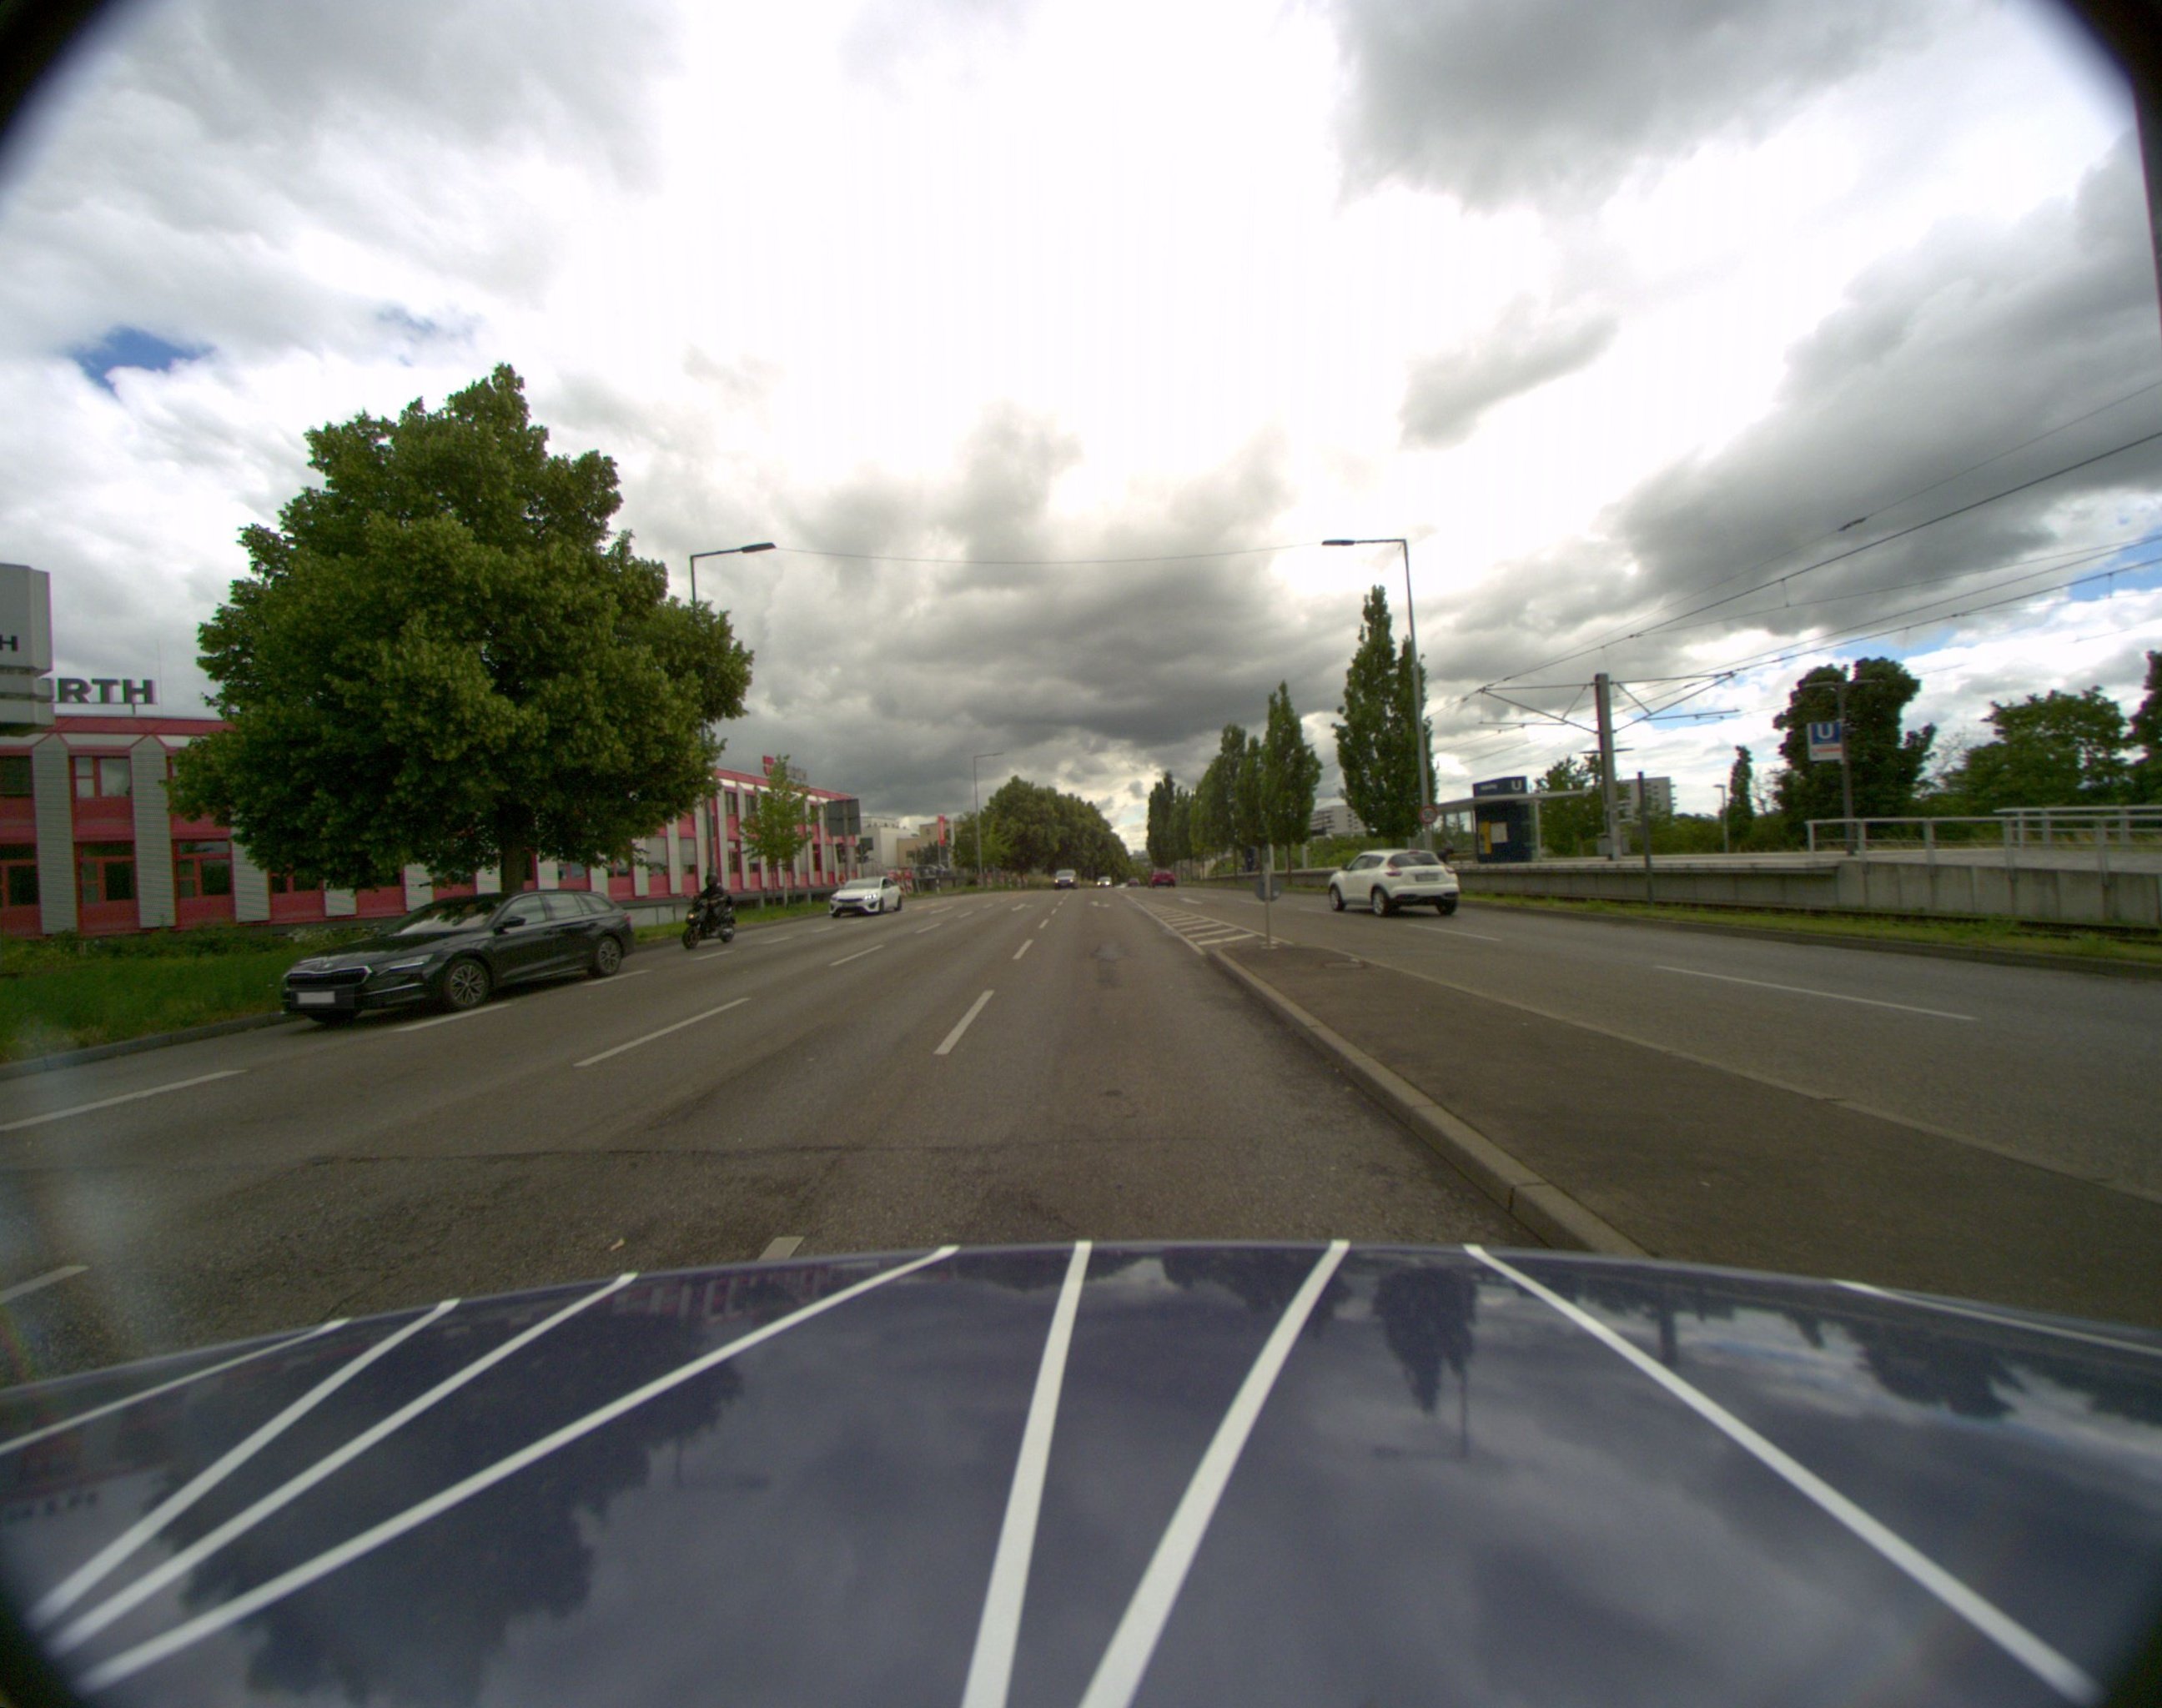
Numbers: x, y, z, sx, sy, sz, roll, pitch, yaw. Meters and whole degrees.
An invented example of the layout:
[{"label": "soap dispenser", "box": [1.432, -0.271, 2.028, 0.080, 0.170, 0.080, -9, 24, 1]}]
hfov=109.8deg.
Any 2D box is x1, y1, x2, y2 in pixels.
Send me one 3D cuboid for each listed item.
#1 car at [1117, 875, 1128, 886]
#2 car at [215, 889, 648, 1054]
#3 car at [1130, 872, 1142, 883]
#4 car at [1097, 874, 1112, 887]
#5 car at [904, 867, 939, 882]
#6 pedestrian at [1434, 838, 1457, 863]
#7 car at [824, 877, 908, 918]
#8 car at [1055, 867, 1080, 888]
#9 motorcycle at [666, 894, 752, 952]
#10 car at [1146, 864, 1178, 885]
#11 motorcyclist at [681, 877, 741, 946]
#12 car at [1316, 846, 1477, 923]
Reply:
[{"label": "car", "box": [7.341, 4.644, 134.832, 1.782, 1.744, 4.253, -2, 0, 3]}, {"label": "car", "box": [-8.305, 1.379, 10.459, 1.785, 1.437, 4.529, -7, -1, 3]}, {"label": "car", "box": [8.370, 3.568, 115.215, 1.782, 1.537, 4.226, -2, 0, 5]}, {"label": "car", "box": [3.485, 3.902, 112.068, 1.984, 1.744, 4.253, -2, 0, 3]}, {"label": "car", "box": [-21.209, 2.687, 101.008, 4.248, 1.744, 1.784, -2, 0, 2]}, {"label": "pedestrian", "box": [17.625, -0.174, 36.734, 0.663, 1.195, 0.782, -2, 0, -7]}, {"label": "car", "box": [-7.971, 1.582, 28.598, 1.785, 1.354, 4.480, -2, -2, 0]}, {"label": "car", "box": [-1.202, 2.084, 67.999, 1.782, 1.744, 4.253, -2, 0, 4]}, {"label": "motorcycle", "box": [-8.487, 1.551, 17.421, 0.749, 1.140, 1.944, -4, -1, 8]}, {"label": "car", "box": [6.005, 1.506, 56.708, 1.785, 1.434, 4.425, -3, -1, -2]}, {"label": "motorcyclist", "box": [-8.498, 1.315, 17.476, 0.749, 1.481, 0.934, -4, -1, 8]}, {"label": "car", "box": [7.551, 0.655, 18.721, 1.834, 1.619, 4.423, -2, 0, -5]}]
